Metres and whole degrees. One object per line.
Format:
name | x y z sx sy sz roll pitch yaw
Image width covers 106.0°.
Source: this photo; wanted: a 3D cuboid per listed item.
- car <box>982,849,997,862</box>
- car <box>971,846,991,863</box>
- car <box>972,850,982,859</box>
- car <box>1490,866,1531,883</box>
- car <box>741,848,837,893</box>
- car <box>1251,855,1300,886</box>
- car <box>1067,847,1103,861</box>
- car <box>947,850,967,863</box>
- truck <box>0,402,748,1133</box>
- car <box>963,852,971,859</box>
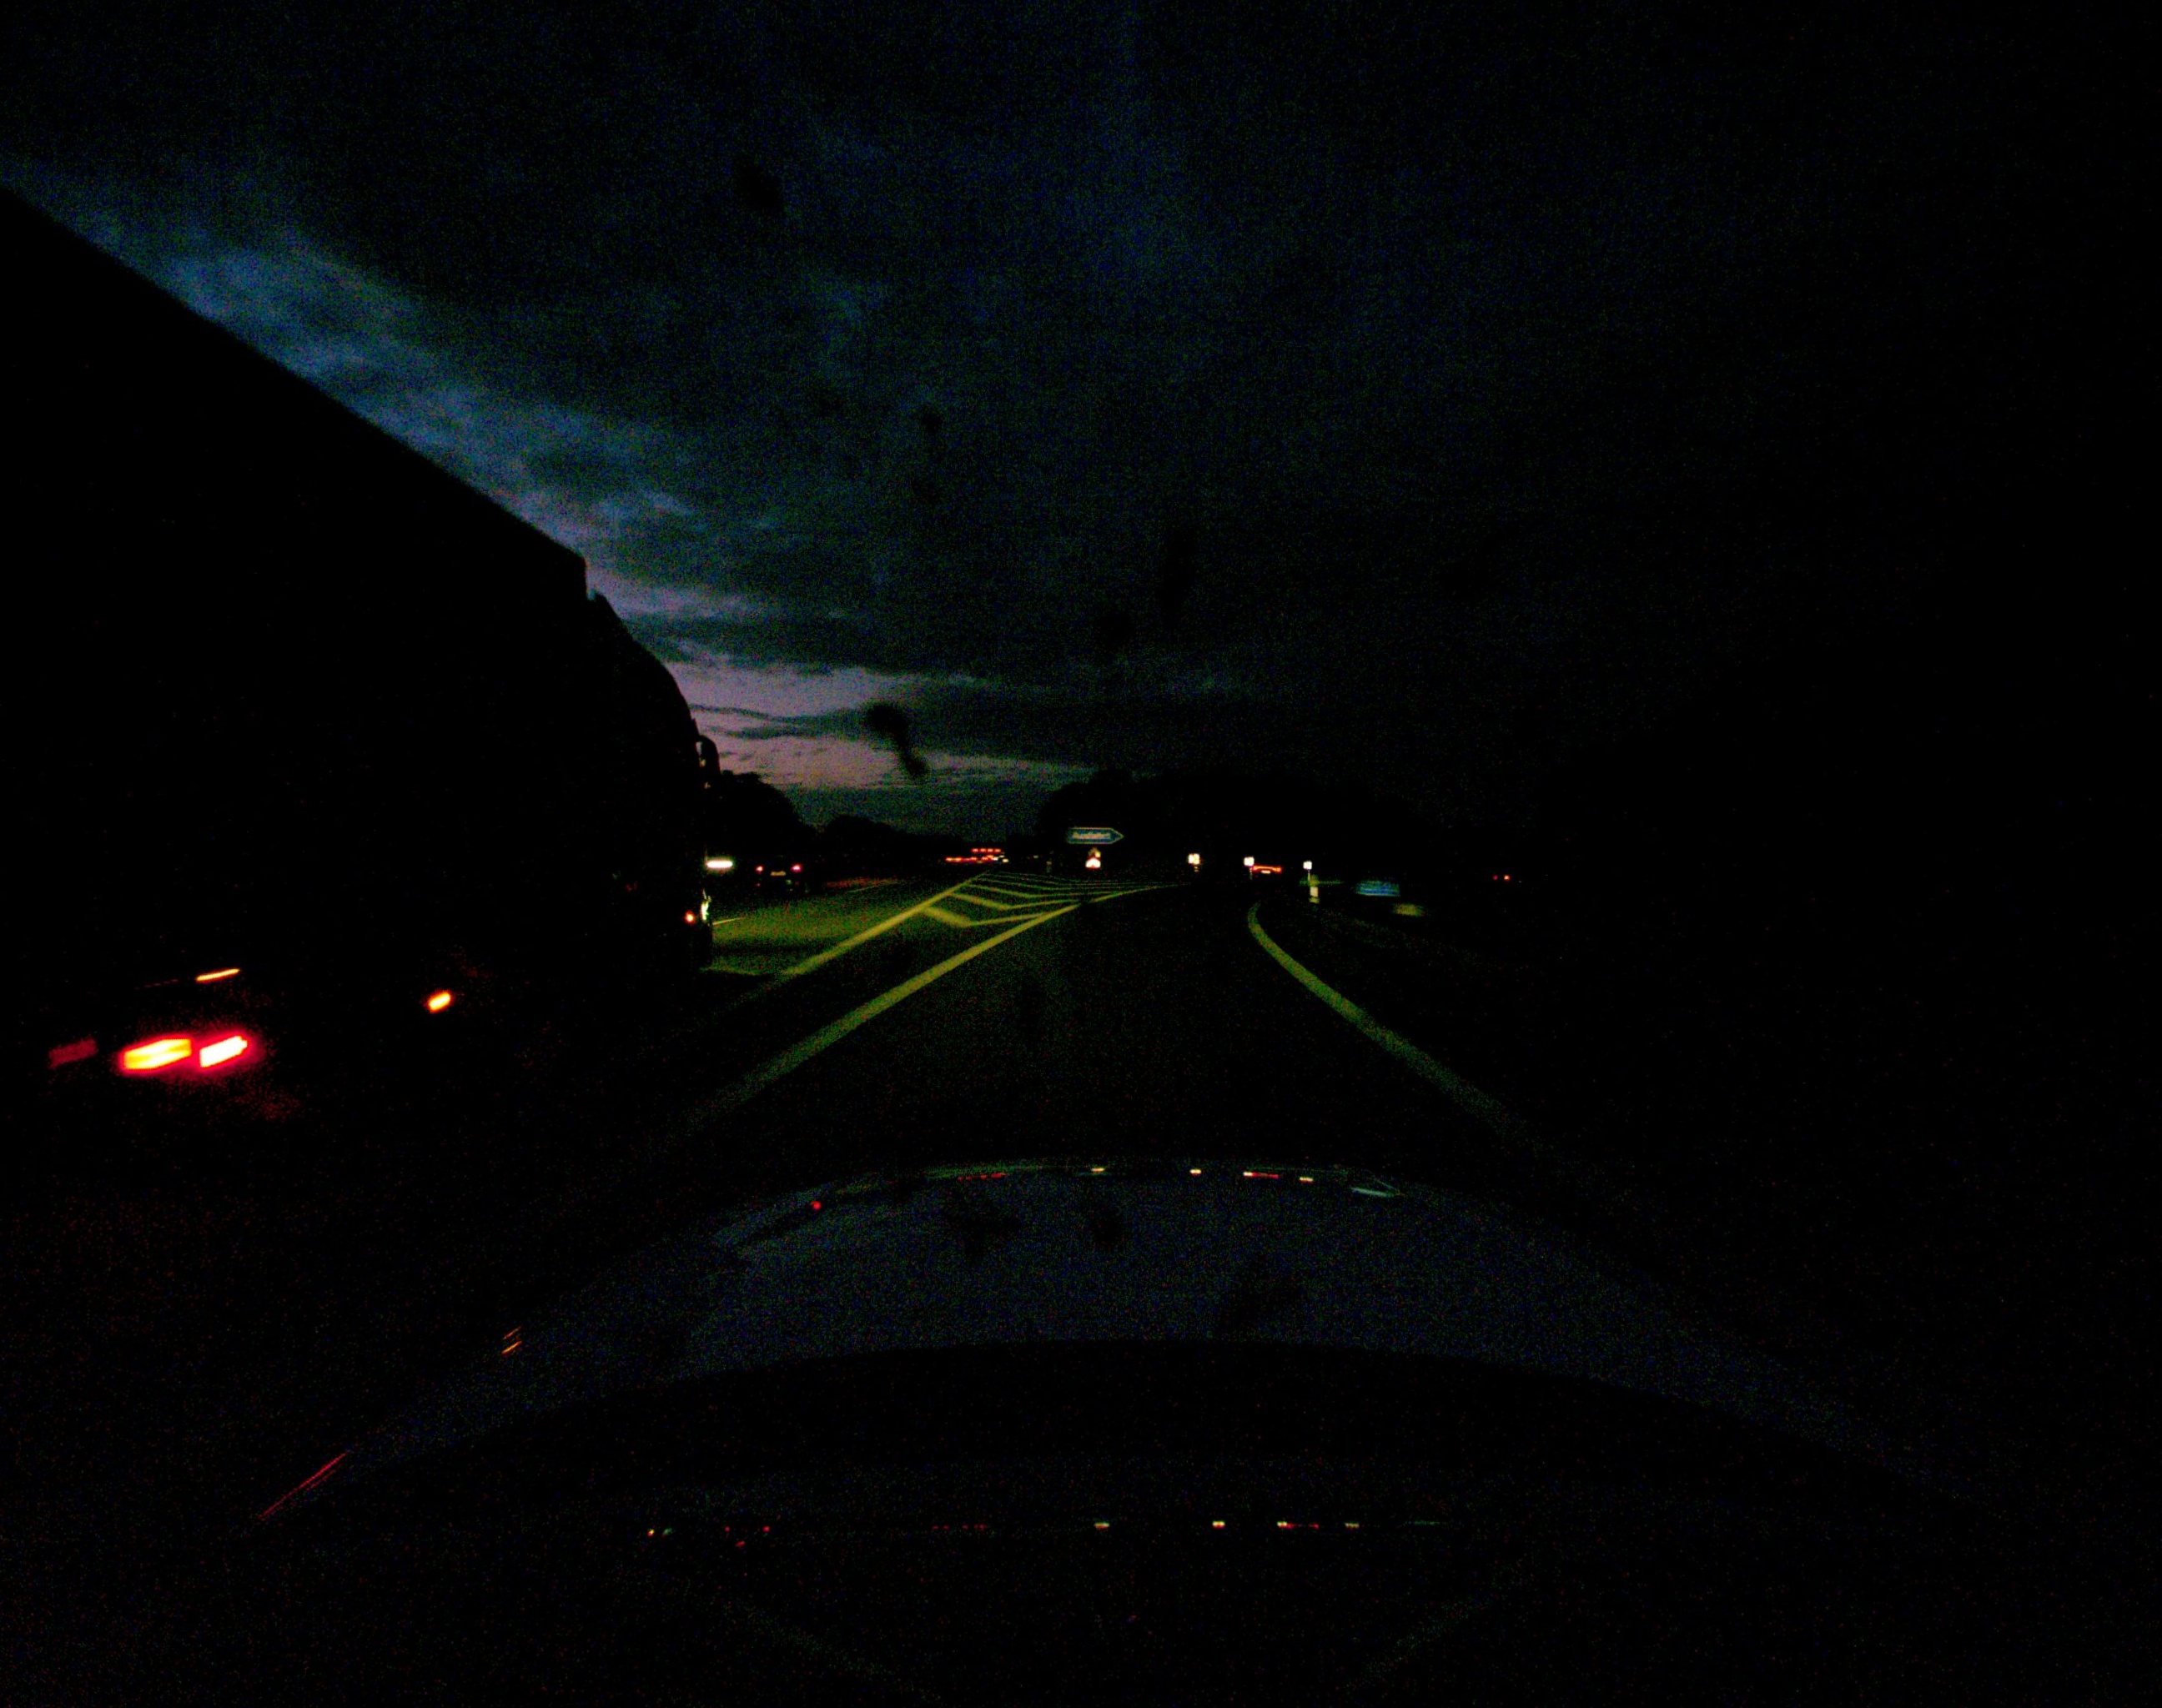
car | -15.134 0.240 135.099 1.988 2.013 3.998 -1 1 -1
car | -12.140 0.079 98.718 1.988 2.013 3.998 0 0 -2
car | -24.770 0.149 194.029 2.072 2.013 3.986 -1 1 -10
car | 44.098 2.083 83.578 4.013 1.598 1.980 1 0 -32
car | -10.565 0.550 29.859 1.988 1.498 4.545 0 1 -2
car | 11.602 0.956 48.303 1.975 1.659 4.339 1 1 25
car | 0.627 0.030 126.820 5.081 2.013 2.282 2 0 28
car | -17.169 0.306 112.757 1.986 1.642 4.557 -1 1 2
truck | -5.556 -0.498 7.448 2.773 3.901 6.146 -1 1 -4
car | -31.802 0.467 227.645 2.104 2.013 3.988 -1 1 -8
